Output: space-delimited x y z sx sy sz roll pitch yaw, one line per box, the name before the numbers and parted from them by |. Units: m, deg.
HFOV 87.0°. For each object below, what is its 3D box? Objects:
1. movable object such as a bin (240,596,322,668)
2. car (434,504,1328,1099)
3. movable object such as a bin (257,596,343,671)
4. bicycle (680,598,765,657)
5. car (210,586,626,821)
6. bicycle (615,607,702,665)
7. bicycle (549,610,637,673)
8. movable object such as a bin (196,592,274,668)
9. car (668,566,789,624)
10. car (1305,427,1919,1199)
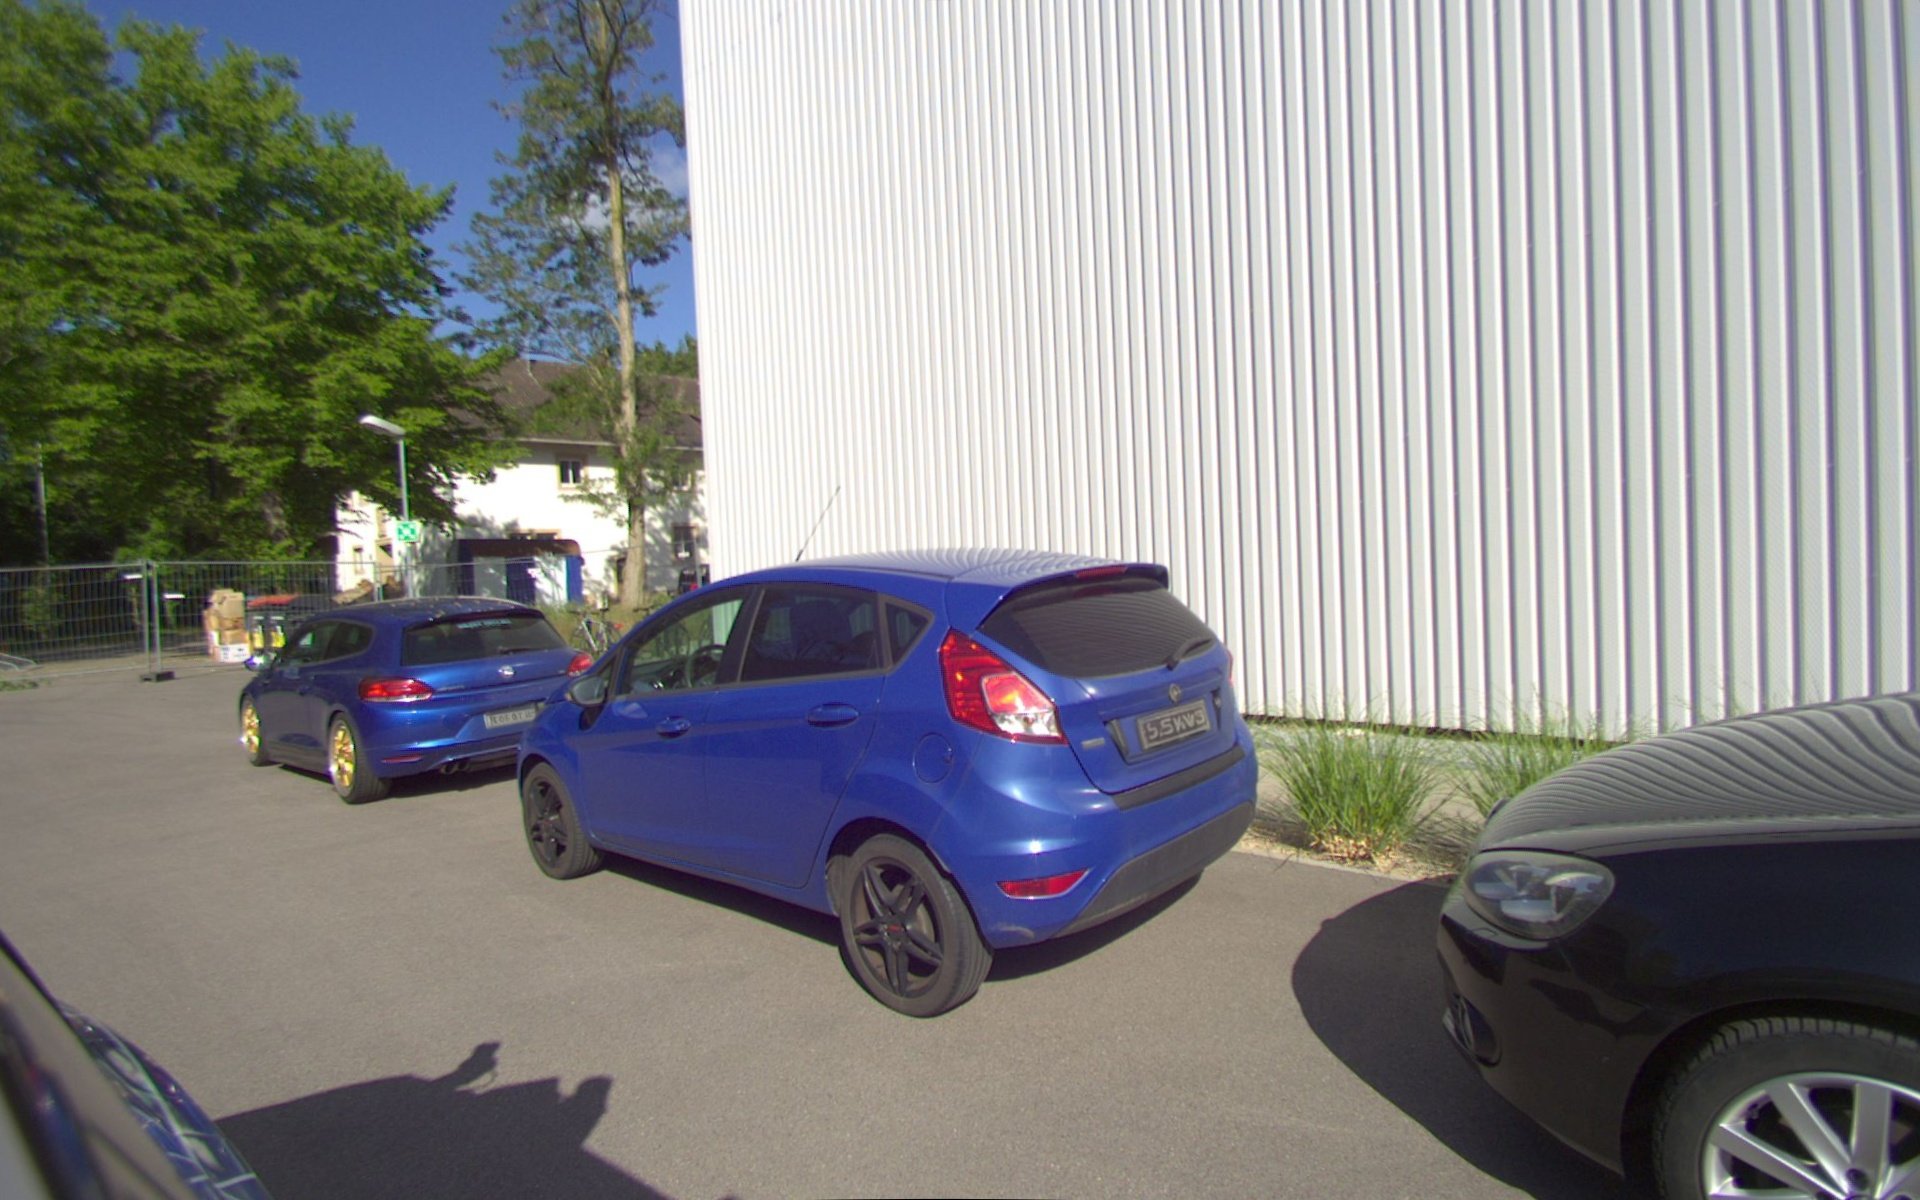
movable object such as a bin | -14.818 0.676 22.095 1.229 1.450 1.080 -1 4 38
car | -0.695 0.510 4.595 4.094 1.511 1.614 -1 4 43
movable object such as a bin | -13.828 0.687 21.201 1.229 1.442 1.080 -1 4 38
bicycle | -4.504 0.524 19.118 1.829 1.045 0.476 -2 3 38
car | -4.616 0.674 8.342 4.053 1.370 1.755 -1 3 43
bicycle | -5.443 0.650 18.192 1.832 0.967 0.476 -2 3 38
bicycle | -6.317 0.703 17.374 1.833 0.994 0.476 -2 3 38
movable object such as a bin | -16.512 0.657 23.066 1.229 1.609 1.079 1 3 38
car | -9.100 -0.231 39.596 4.873 2.026 2.031 1 5 41
car | 2.900 0.409 1.272 4.295 1.511 1.735 -1 4 44
